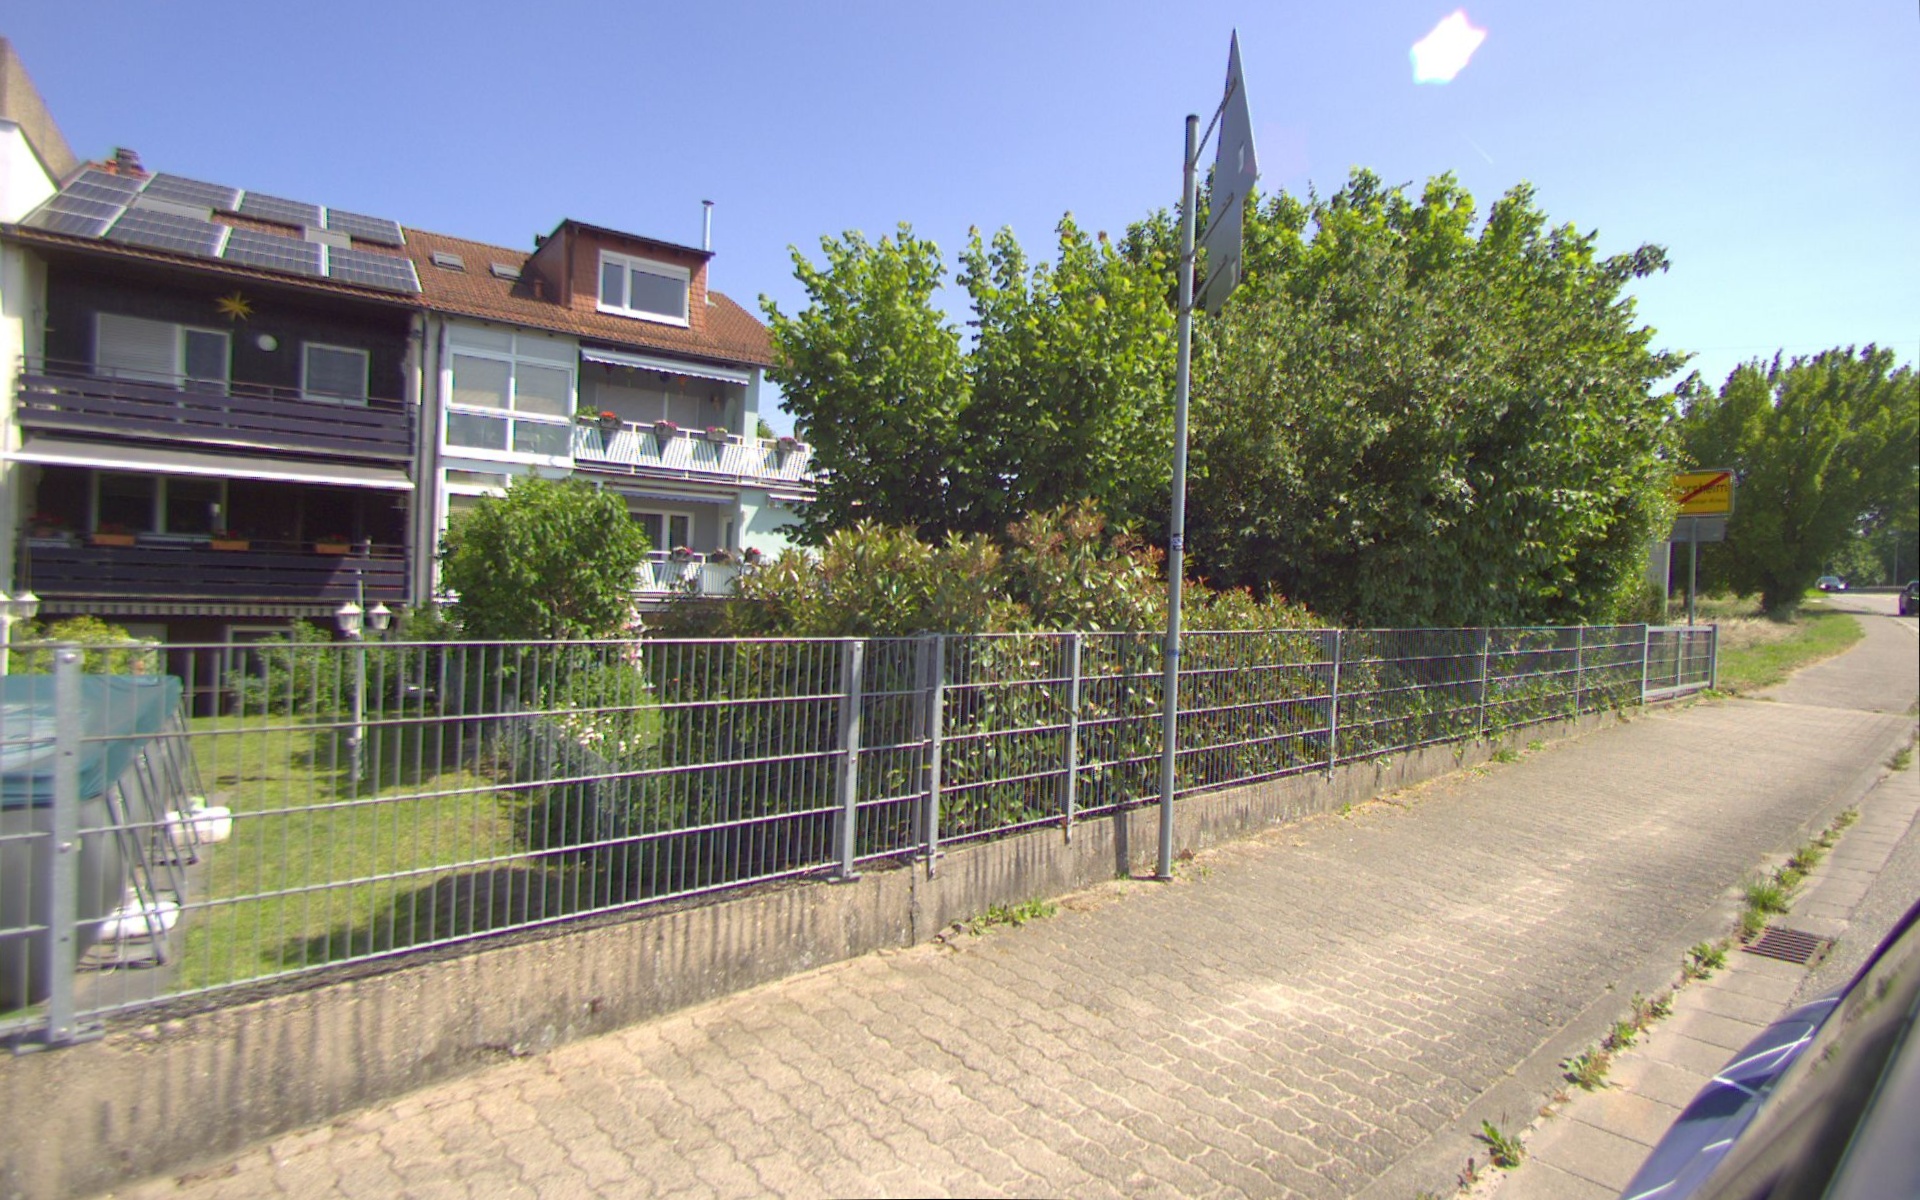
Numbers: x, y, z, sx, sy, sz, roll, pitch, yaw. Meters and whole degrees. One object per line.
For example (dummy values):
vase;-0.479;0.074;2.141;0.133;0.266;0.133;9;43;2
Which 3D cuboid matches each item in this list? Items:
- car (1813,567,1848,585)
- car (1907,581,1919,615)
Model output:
car;80.935;-2.198;94.122;1.987;1.551;3.950;1;0;34
car;45.410;-0.098;46.945;1.756;1.558;3.634;1;1;38
